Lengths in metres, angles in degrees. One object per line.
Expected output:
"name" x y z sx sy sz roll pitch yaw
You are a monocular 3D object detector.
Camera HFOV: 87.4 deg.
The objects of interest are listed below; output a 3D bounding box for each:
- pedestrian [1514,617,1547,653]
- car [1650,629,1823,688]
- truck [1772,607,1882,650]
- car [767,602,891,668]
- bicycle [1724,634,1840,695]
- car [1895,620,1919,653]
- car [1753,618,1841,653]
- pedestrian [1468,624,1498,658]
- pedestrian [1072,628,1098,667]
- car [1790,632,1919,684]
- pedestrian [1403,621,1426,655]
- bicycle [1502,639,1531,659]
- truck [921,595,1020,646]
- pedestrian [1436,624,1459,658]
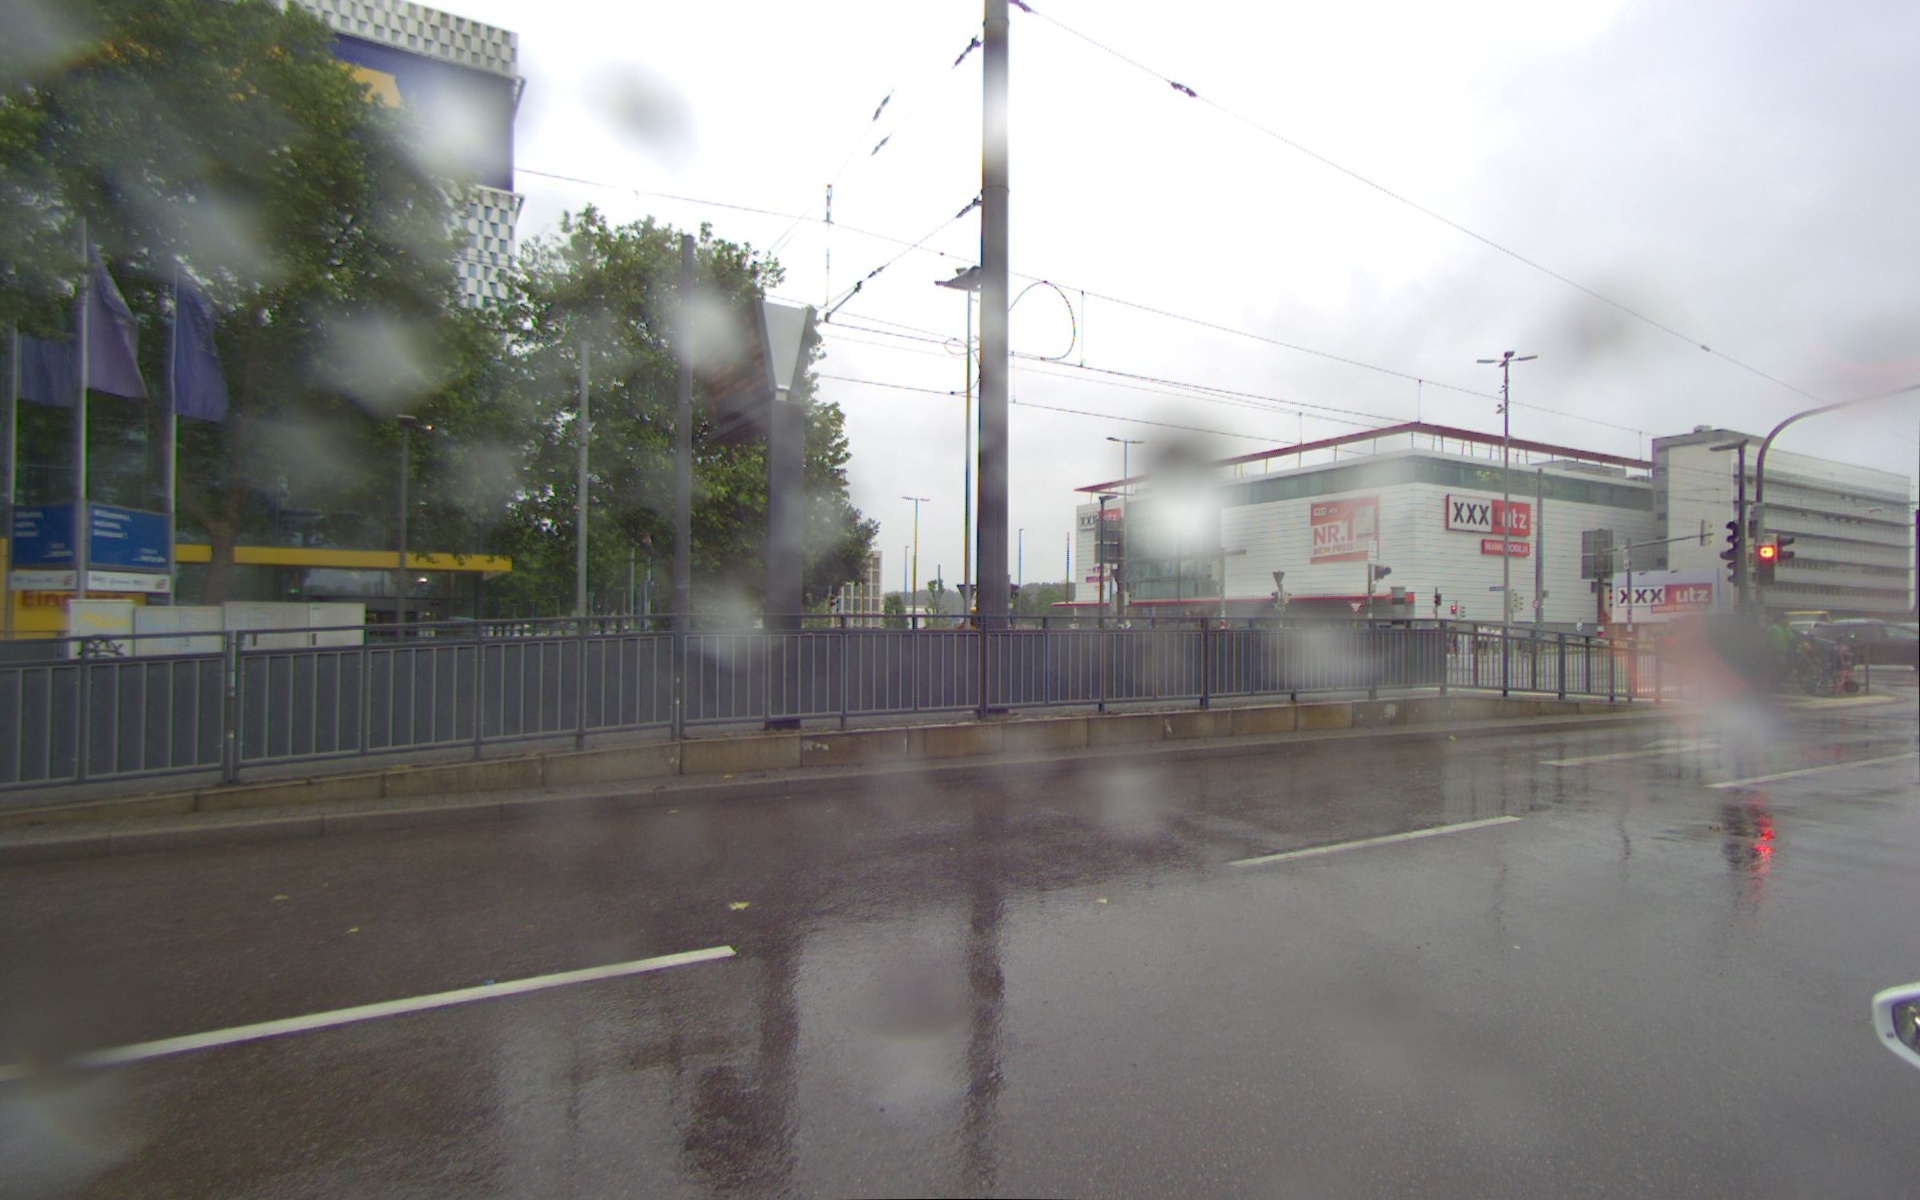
"pedestrian" 27.486 1.685 48.377 0.996 1.654 0.917 2 0 -19
"car" 22.226 1.643 28.951 3.801 1.441 1.506 2 0 34
"truck" 49.522 1.647 57.302 7.542 2.309 2.341 2 0 -30
"car" -4.359 1.147 33.925 1.967 2.040 3.988 2 0 34
"bicycle" 16.723 1.287 20.482 0.409 1.048 1.742 2 3 -31
"car" 51.814 1.973 53.309 3.947 1.722 1.886 2 0 -26
"car" 39.725 1.687 47.661 3.823 1.512 1.693 2 0 -25
"pedestrian" 27.026 2.101 51.898 1.063 1.654 1.027 2 0 8
"pedestrian" 5.075 1.923 40.862 0.863 1.557 0.560 2 0 -31
"car" 28.349 1.811 31.443 3.289 1.441 1.468 2 0 17
"pedestrian" 23.201 1.938 51.283 0.914 1.654 0.694 2 0 -42
"bicycle" 28.348 2.498 51.152 1.688 1.000 0.448 2 0 -30
"truck" 0.505 1.152 60.359 2.612 2.853 7.084 2 0 -31
"pedestrian" 24.314 2.029 50.062 0.914 1.654 0.694 2 0 -42
